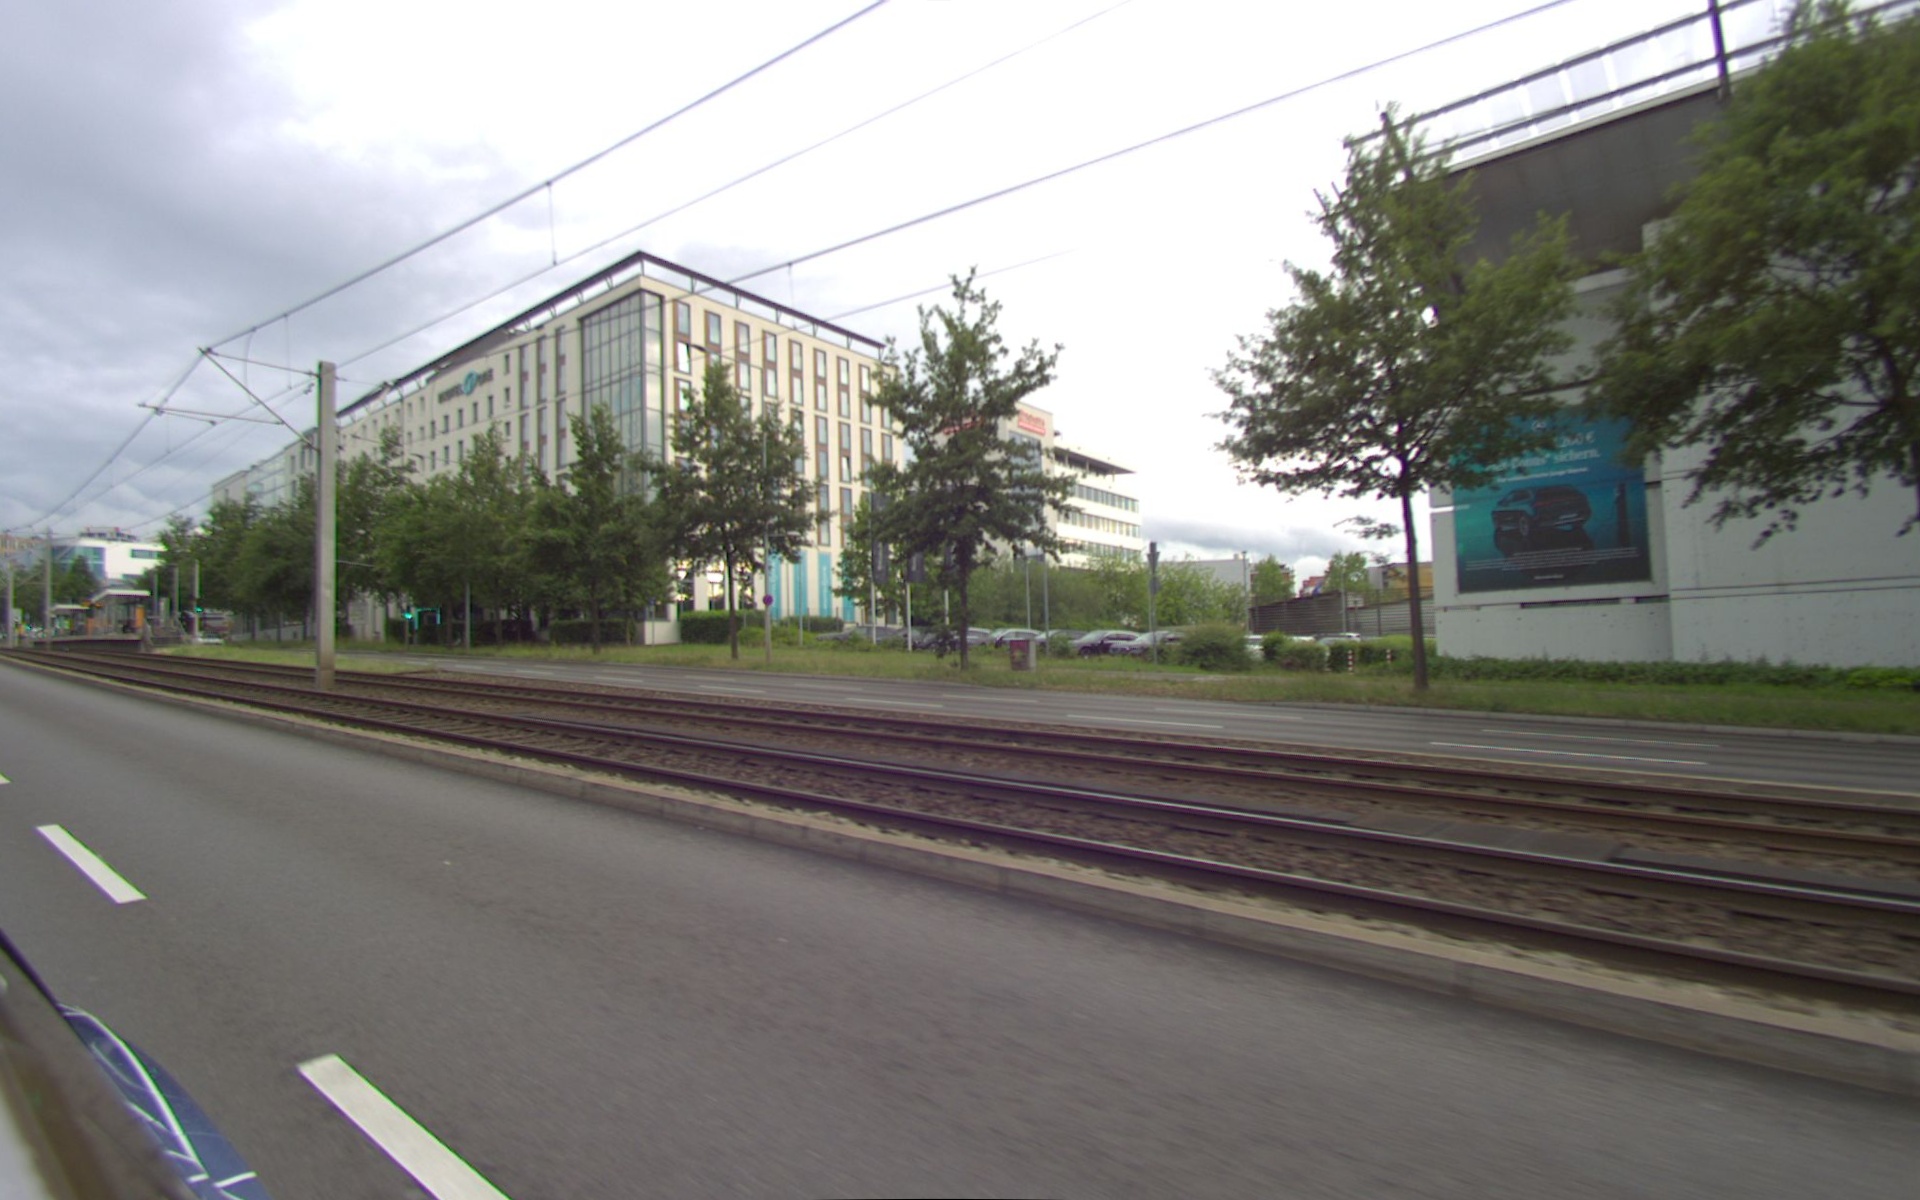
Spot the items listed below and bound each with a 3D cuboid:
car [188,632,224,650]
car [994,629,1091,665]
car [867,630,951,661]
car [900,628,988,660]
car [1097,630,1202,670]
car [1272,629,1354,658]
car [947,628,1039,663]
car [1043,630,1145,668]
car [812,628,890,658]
[{"bbox_3d":[-61.183,3.325,82.094,3.818,1.375,1.678,-2,-4,44],"label":"car"},{"bbox_3d":[3.729,2.086,45.699,3.931,1.401,1.809,-1,0,-22],"label":"car"},{"bbox_3d":[-2.664,2.333,52.311,3.931,1.401,1.809,-1,0,-22],"label":"car"},{"bbox_3d":[-0.803,2.147,49.926,3.931,1.401,1.809,-1,0,-22],"label":"car"},{"bbox_3d":[7.781,2.032,41.563,3.931,1.401,1.809,-1,0,-26],"label":"car"},{"bbox_3d":[19.475,2.385,55.815,3.931,1.401,1.809,-1,0,-18],"label":"car"},{"bbox_3d":[1.563,2.116,47.593,3.931,1.401,1.770,-1,0,-22],"label":"car"},{"bbox_3d":[5.745,2.060,43.436,3.931,1.401,1.809,-1,0,-22],"label":"car"},{"bbox_3d":[-5.879,2.284,54.305,3.934,1.401,1.808,-1,0,-12],"label":"car"}]
